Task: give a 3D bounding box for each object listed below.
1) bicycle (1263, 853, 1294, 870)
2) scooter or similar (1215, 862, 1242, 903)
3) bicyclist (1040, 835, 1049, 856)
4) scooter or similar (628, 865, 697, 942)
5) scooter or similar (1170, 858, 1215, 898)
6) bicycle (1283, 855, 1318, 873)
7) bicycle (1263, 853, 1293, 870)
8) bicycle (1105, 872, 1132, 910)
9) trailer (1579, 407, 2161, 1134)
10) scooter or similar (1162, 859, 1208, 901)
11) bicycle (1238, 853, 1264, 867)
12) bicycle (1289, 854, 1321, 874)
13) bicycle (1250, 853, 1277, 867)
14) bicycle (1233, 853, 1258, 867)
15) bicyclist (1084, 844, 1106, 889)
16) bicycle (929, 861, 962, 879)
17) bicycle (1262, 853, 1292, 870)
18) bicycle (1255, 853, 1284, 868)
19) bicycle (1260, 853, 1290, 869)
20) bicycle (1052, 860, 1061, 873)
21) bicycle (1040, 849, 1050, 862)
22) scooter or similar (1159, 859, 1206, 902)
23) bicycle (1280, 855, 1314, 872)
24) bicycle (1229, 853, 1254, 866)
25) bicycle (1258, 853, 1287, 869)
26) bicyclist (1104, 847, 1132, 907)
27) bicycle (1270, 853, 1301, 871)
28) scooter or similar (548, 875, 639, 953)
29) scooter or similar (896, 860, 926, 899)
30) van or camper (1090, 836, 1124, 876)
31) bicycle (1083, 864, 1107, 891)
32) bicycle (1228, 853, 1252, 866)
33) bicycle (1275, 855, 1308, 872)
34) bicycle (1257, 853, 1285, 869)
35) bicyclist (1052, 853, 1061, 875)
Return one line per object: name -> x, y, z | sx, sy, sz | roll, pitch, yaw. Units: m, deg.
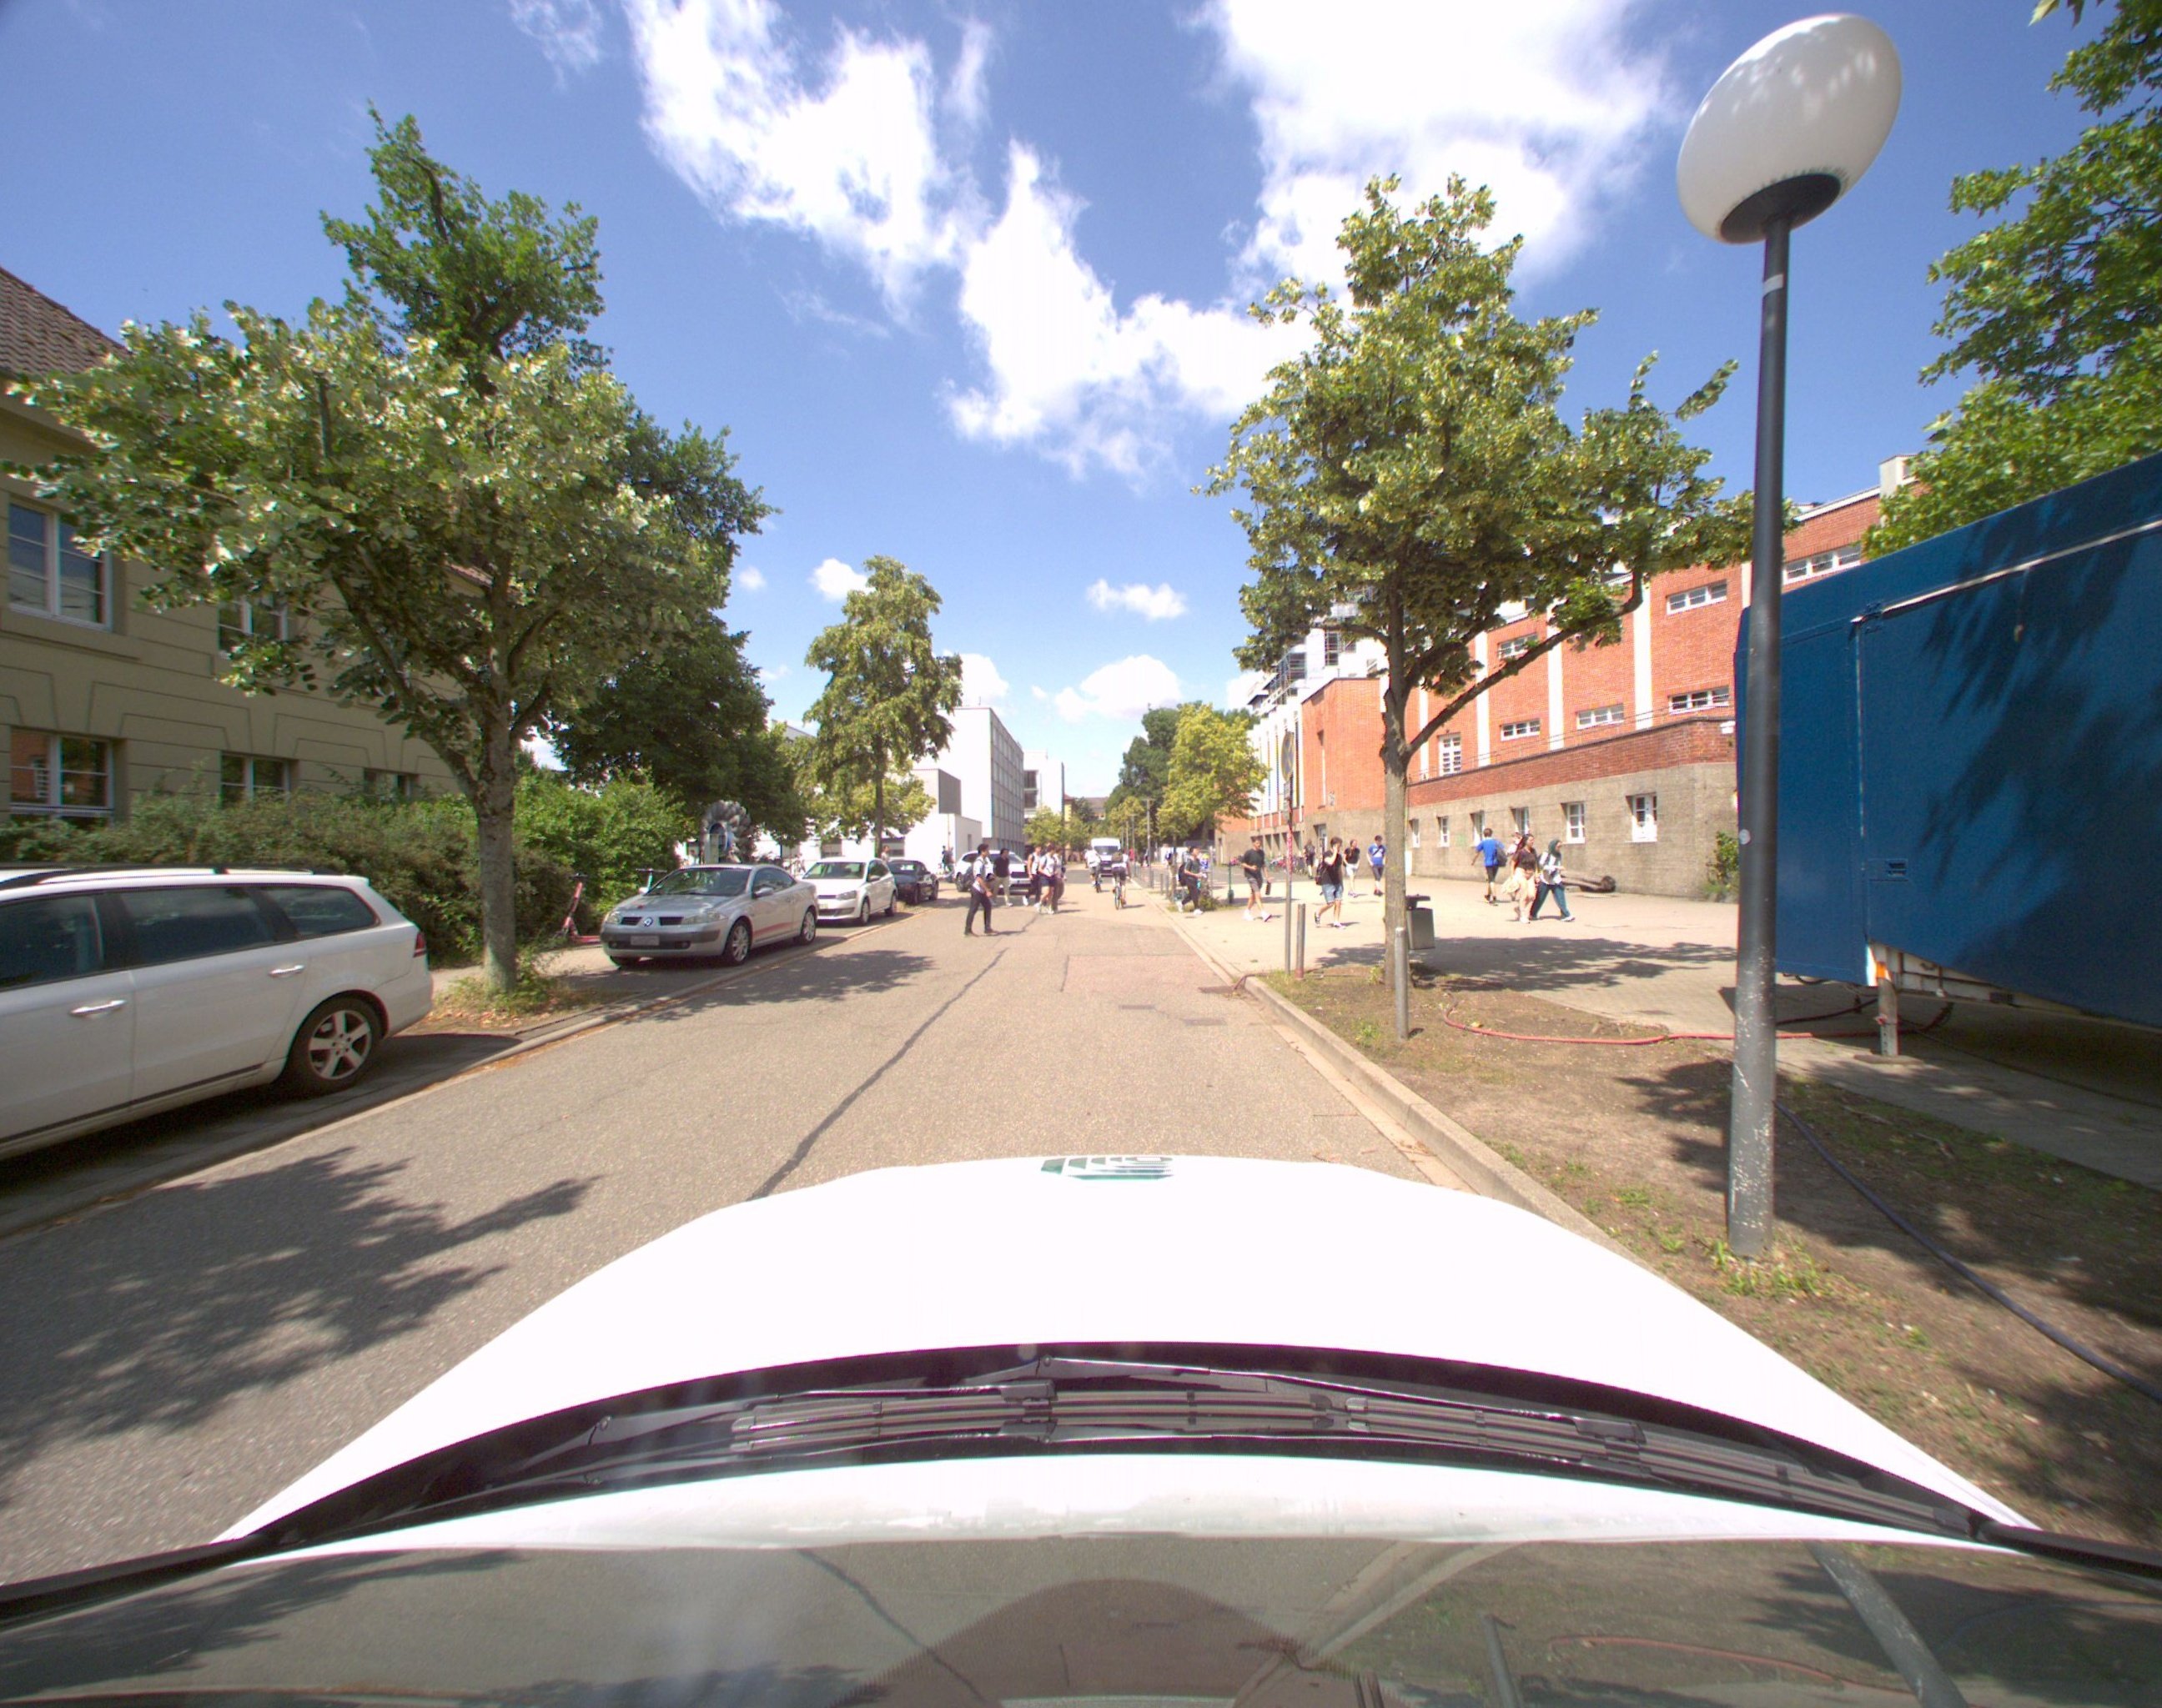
bicycle -> 12.526, 0.474, 51.655 | 1.803, 0.985, 0.560 | -3, 0, 0
scooter or similar -> 4.374, 0.820, 24.097 | 0.643, 1.160, 1.270 | -2, 0, 16
bicyclist -> -2.848, -0.633, 63.487 | 0.641, 1.601, 0.909 | -2, 0, -1
scooter or similar -> -7.703, 0.883, 15.033 | 0.522, 1.287, 1.229 | -4, 1, 1
scooter or similar -> 3.630, 0.787, 26.473 | 1.248, 1.265, 0.644 | -2, 0, 33
bicycle -> 12.460, 0.555, 46.327 | 1.803, 0.912, 0.560 | -2, 0, 0
bicycle -> 12.990, 0.500, 53.593 | 1.803, 0.985, 0.560 | -3, 0, 0
bicycle -> 1.106, 1.029, 23.443 | 0.703, 0.993, 1.913 | 0, 0, 4
trailer -> 5.893, -0.386, 4.242 | 2.683, 3.051, 6.256 | -2, 0, 0
scooter or similar -> 3.289, 0.823, 25.663 | 1.248, 1.265, 0.655 | -2, 0, 33
bicycle -> 12.816, 0.448, 61.417 | 1.803, 0.985, 0.560 | -3, 0, 0
bicycle -> 12.209, 0.535, 44.395 | 1.530, 1.033, 0.560 | -2, 0, 0
bicycle -> 13.191, 0.435, 58.875 | 1.803, 0.985, 0.560 | -3, 0, 0
bicycle -> 12.742, 0.445, 62.952 | 1.803, 0.985, 0.560 | -3, 0, 0
bicyclist -> 0.564, 0.486, 32.139 | 0.769, 1.756, 0.847 | -2, 0, -3
bicycle -> -8.015, 0.935, 48.178 | 2.097, 1.002, 0.816 | -1, -1, 43
bicycle -> 12.568, 0.475, 52.259 | 1.803, 0.985, 0.560 | -3, 0, 0
bicycle -> 13.024, 0.459, 56.330 | 1.803, 0.985, 0.560 | -3, 0, 0
bicycle -> 12.988, 0.467, 54.499 | 1.803, 0.985, 0.560 | -3, 0, 0
bicycle -> -1.934, 1.015, 65.228 | 0.675, 0.965, 2.001 | 1, -4, -1
bicycle -> -2.811, 0.097, 63.442 | 0.675, 0.965, 2.002 | -1, 0, -1
scooter or similar -> 3.099, 0.818, 24.892 | 1.248, 1.265, 0.655 | -2, 0, 33
bicycle -> 12.527, 0.570, 47.182 | 1.803, 0.912, 0.560 | -2, 0, 0
bicycle -> 12.860, 0.431, 65.289 | 1.803, 0.985, 0.560 | -3, 0, 0
bicycle -> 12.967, 0.468, 55.101 | 1.803, 0.985, 0.560 | -3, 0, 0
bicyclist -> 1.067, 0.643, 23.327 | 0.714, 1.662, 1.097 | -1, 0, 5
bicycle -> 12.638, 0.492, 50.350 | 1.803, 0.985, 0.560 | -3, 0, 0
scooter or similar -> -7.879, 0.942, 13.214 | 0.466, 1.171, 1.234 | -1, -1, 21
scooter or similar -> -6.050, 0.890, 29.017 | 0.501, 1.299, 1.220 | -2, 0, 13
van or camper -> 1.732, 0.164, 53.141 | 1.985, 2.446, 4.574 | -2, -1, 4
bicycle -> 0.543, 0.952, 32.214 | 0.806, 1.002, 2.122 | -2, -2, -1
bicycle -> 12.953, 0.425, 66.251 | 1.803, 0.985, 0.560 | -3, 0, 0
bicycle -> 12.549, 0.545, 48.587 | 1.803, 0.912, 0.560 | -3, 0, 0
bicycle -> 12.995, 0.461, 55.689 | 1.803, 0.985, 0.560 | -3, 0, 0
bicyclist -> -1.930, 0.784, 65.153 | 0.665, 1.681, 0.992 | -2, 0, -2
